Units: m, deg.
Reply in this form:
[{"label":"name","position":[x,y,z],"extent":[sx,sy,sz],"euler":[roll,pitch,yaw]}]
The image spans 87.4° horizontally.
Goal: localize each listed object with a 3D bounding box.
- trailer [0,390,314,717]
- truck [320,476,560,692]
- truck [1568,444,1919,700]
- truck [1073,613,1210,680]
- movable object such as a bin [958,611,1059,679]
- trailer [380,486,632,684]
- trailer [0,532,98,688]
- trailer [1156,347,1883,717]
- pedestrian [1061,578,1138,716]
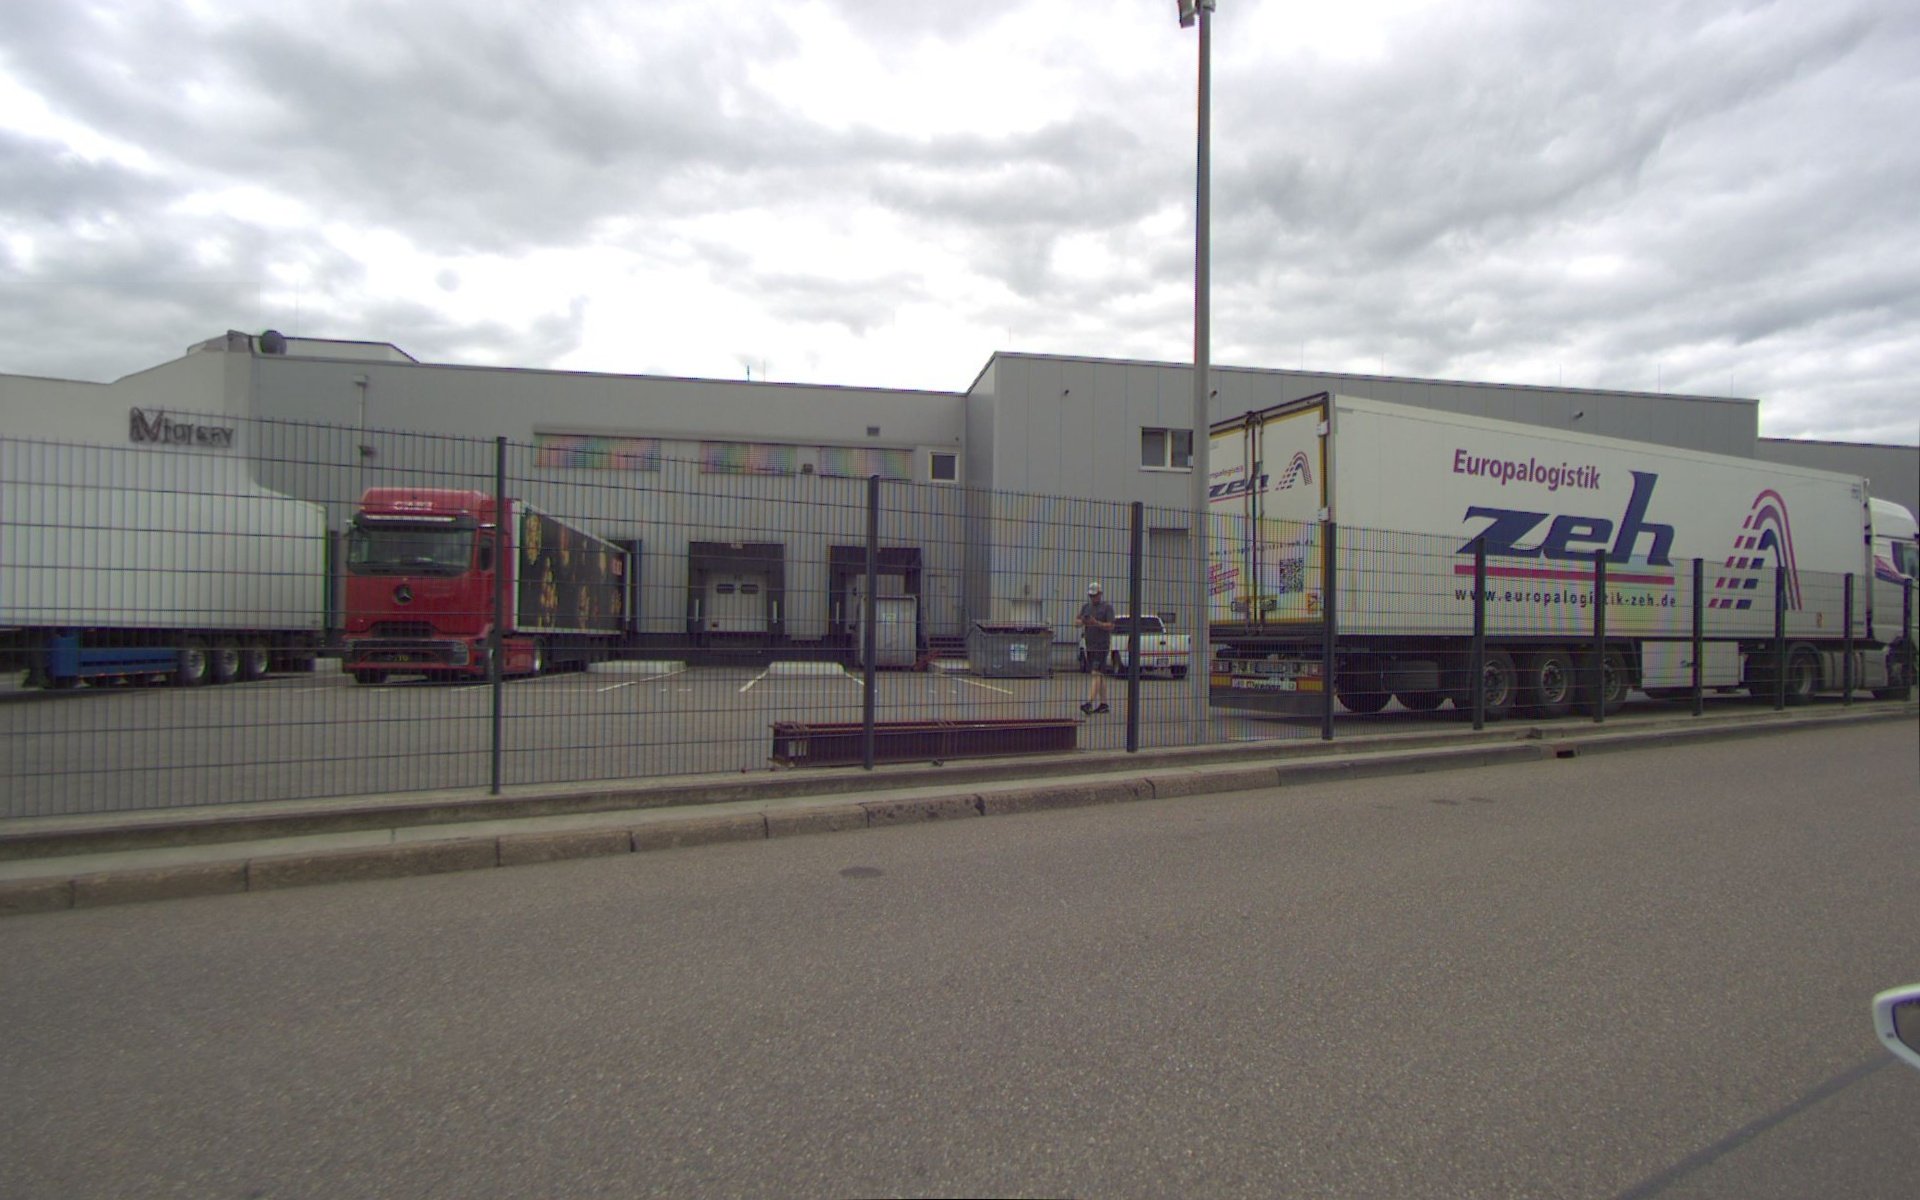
[{"label":"trailer","position":[-14.967,-0.568,16.605],"extent":[2.986,4.239,13.976],"euler":[1,-1,-15]},{"label":"truck","position":[-10.846,-0.225,21.692],"extent":[2.751,3.980,5.917],"euler":[1,-1,-8]},{"label":"truck","position":[15.403,-0.264,19.294],"extent":[6.853,4.169,3.118],"euler":[1,-5,-27]},{"label":"truck","position":[4.873,1.244,27.861],"extent":[2.187,1.673,4.921],"euler":[1,-1,-10]},{"label":"movable object such as a bin","position":[1.281,1.229,28.472],"extent":[2.117,1.759,3.995],"euler":[1,-1,-8]},{"label":"trailer","position":[-11.713,-0.170,27.768],"extent":[2.733,4.162,13.075],"euler":[1,-1,-8]},{"label":"trailer","position":[-26.367,0.199,24.522],"extent":[2.742,4.131,10.978],"euler":[1,-1,-10]},{"label":"trailer","position":[9.689,-0.524,16.279],"extent":[13.842,4.315,3.123],"euler":[2,-5,-28]},{"label":"pedestrian","position":[1.953,0.646,14.069],"extent":[0.813,1.854,0.695],"euler":[1,-1,-26]}]
